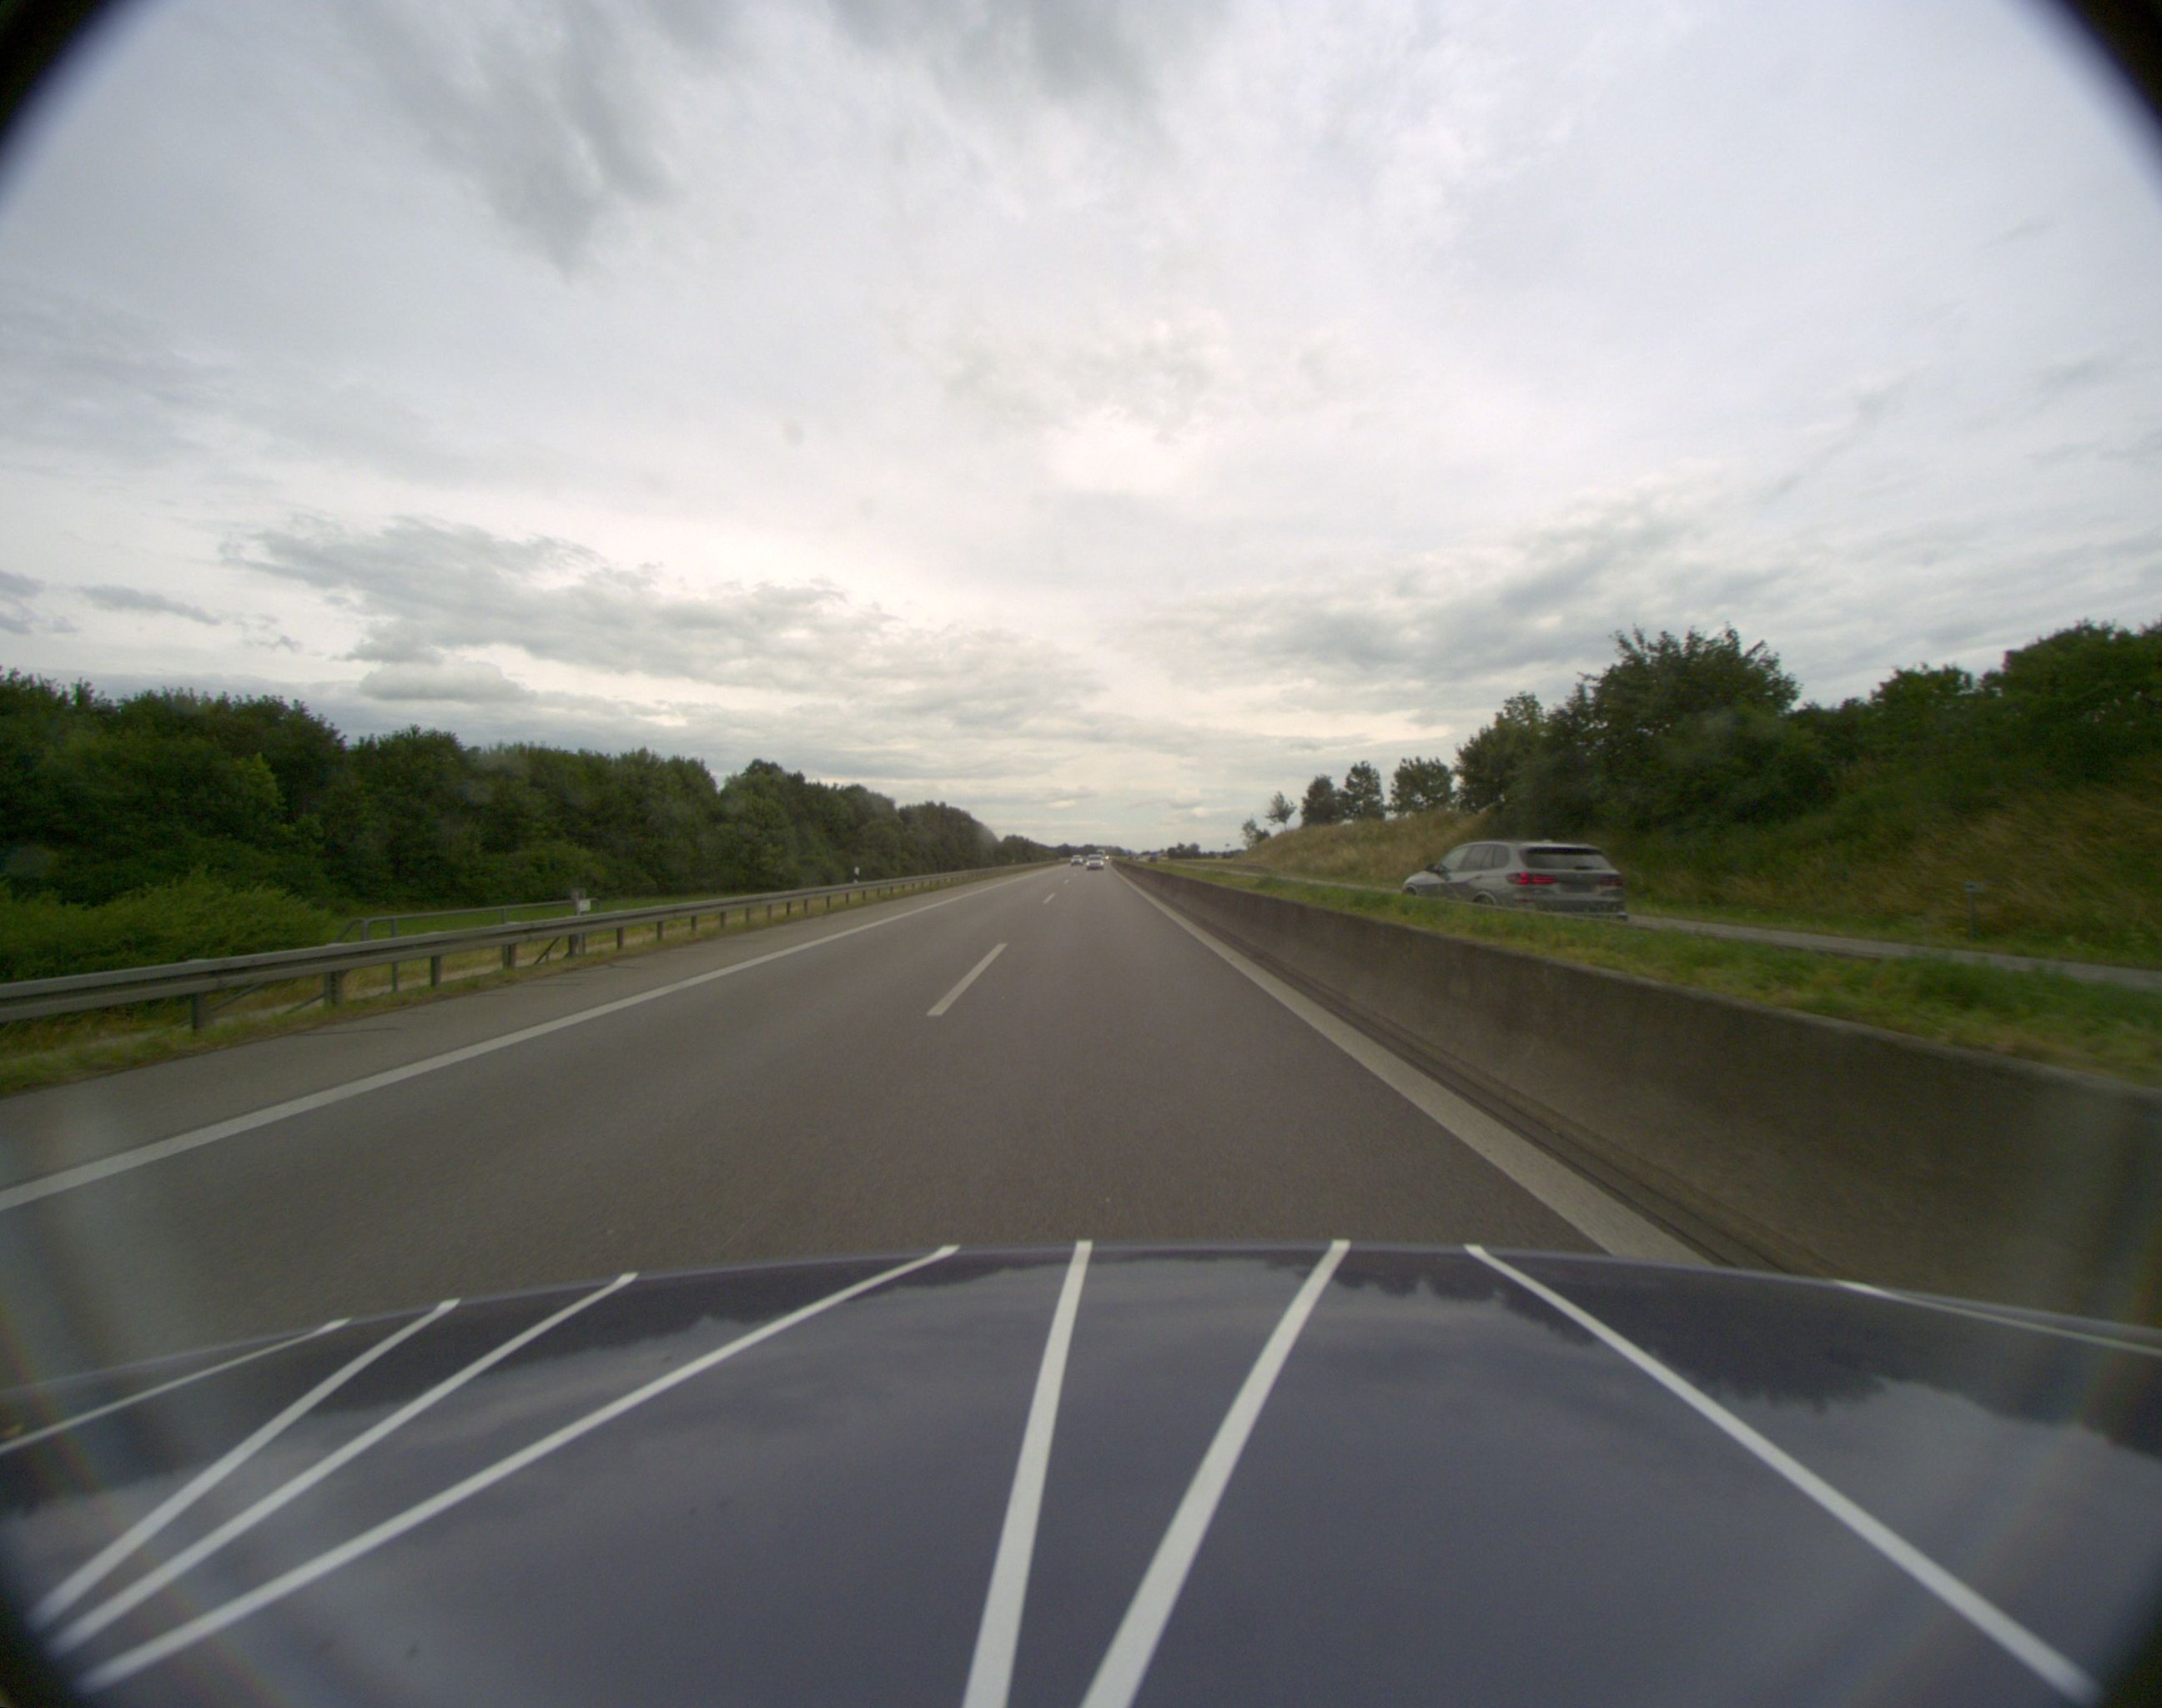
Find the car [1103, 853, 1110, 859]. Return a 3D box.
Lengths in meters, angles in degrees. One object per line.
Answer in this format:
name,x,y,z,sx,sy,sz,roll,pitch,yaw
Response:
car,7.091,0.457,208.914,1.915,1.553,4.289,-1,1,3

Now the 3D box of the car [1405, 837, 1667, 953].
car,7.655,0.595,13.454,1.924,1.684,4.597,0,0,1

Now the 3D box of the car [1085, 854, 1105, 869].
car,1.460,0.801,81.908,1.916,1.553,4.287,-1,1,-1

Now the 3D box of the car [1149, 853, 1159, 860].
car,15.325,0.559,159.433,1.850,1.488,4.580,2,0,1

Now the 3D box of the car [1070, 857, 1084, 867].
car,-0.592,1.229,123.211,1.915,1.553,4.289,-1,1,3

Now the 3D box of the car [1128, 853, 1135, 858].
car,14.320,0.371,216.206,1.850,1.562,4.361,1,0,1

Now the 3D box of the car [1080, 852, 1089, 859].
car,0.761,0.284,171.413,1.915,1.553,4.289,-1,1,3
